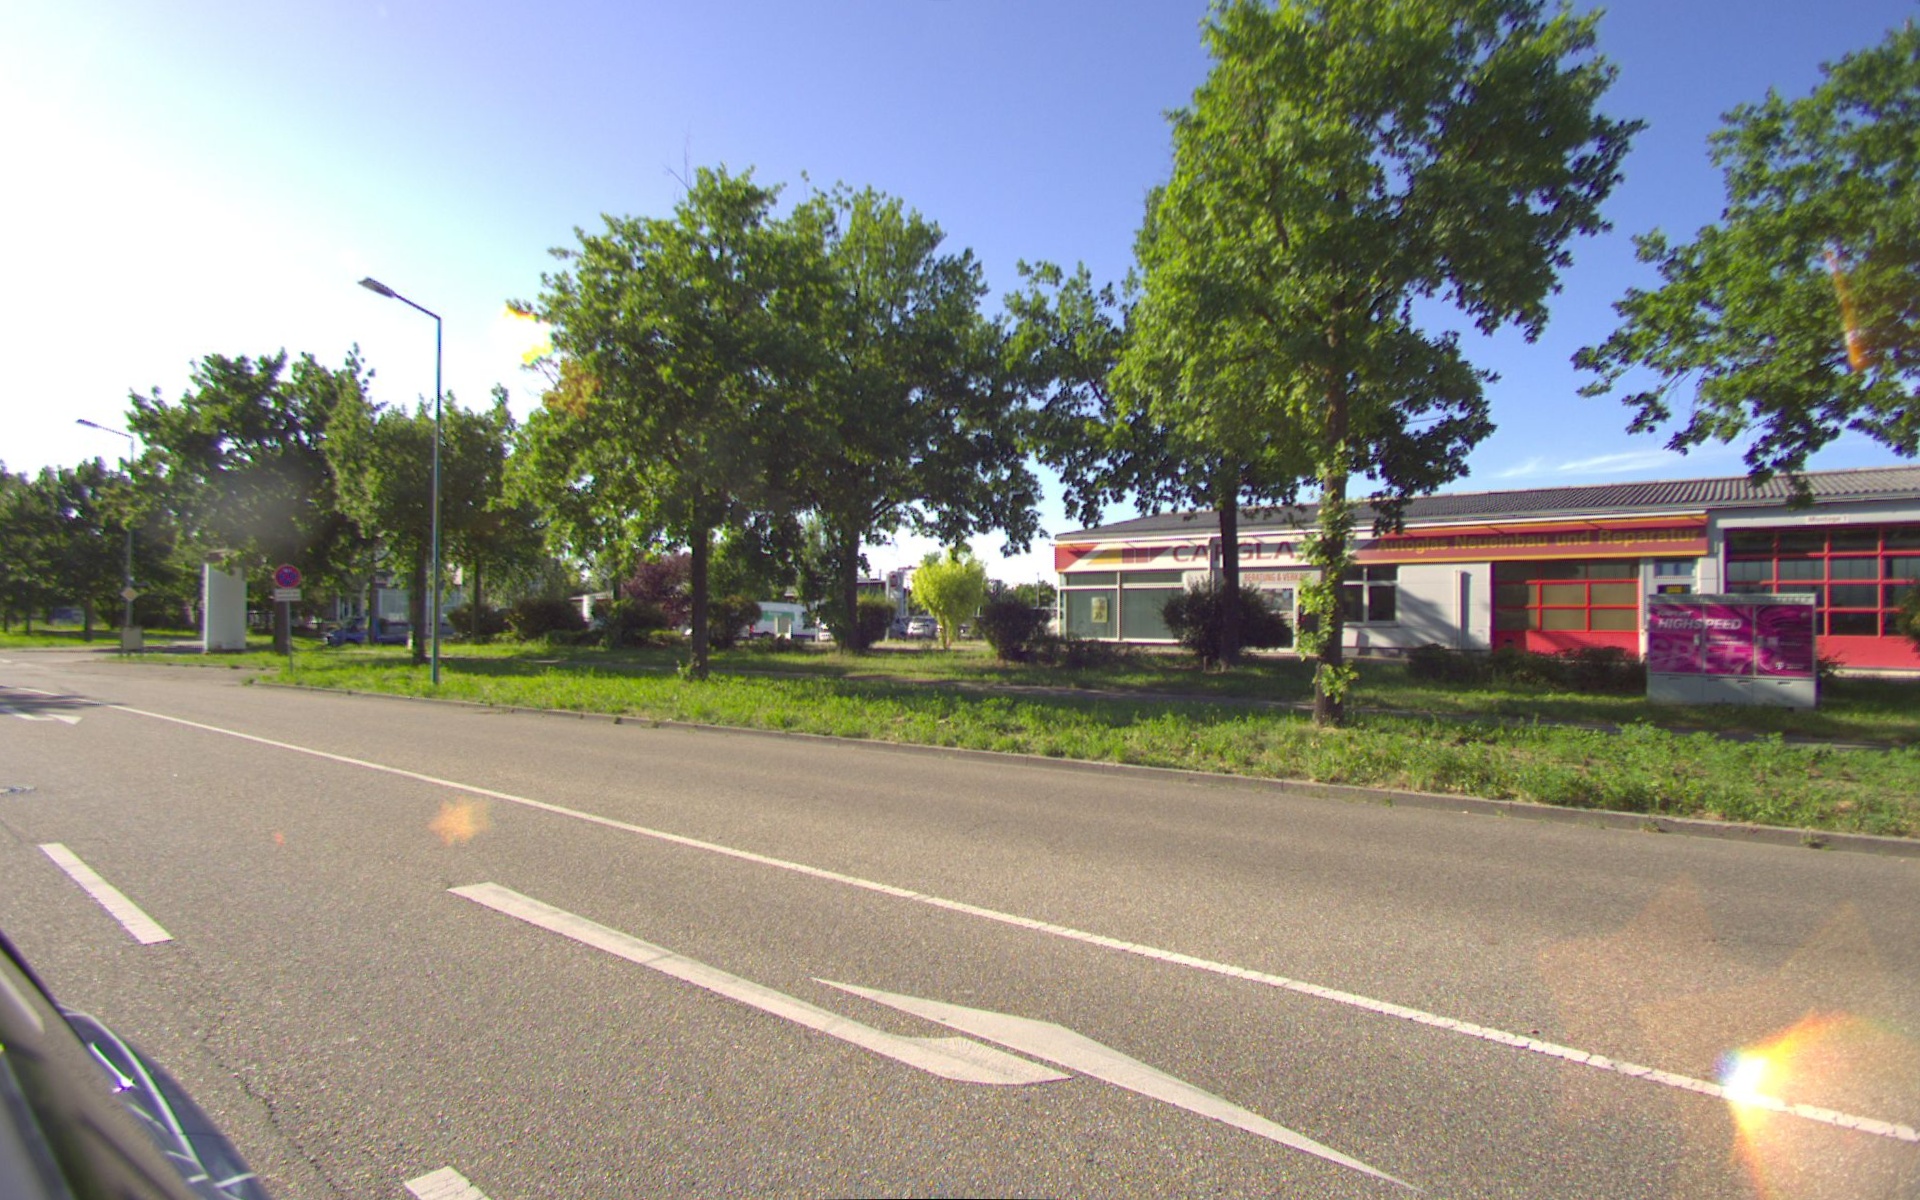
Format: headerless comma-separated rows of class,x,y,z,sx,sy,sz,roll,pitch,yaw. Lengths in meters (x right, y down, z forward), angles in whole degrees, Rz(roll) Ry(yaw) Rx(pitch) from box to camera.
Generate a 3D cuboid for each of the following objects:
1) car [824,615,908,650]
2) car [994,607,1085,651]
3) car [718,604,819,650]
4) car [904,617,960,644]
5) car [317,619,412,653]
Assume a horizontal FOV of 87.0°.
car,-5.142,1.750,55.785,1.989,1.795,4.583,-1,0,40
car,3.216,1.141,40.600,1.734,1.583,3.769,-3,-1,40
car,-11.449,1.581,60.996,2.406,2.574,5.952,-1,0,36
car,-1.868,2.030,68.619,1.761,1.684,3.811,-1,0,40
car,-35.968,2.144,61.229,1.999,1.847,4.578,-1,0,41
